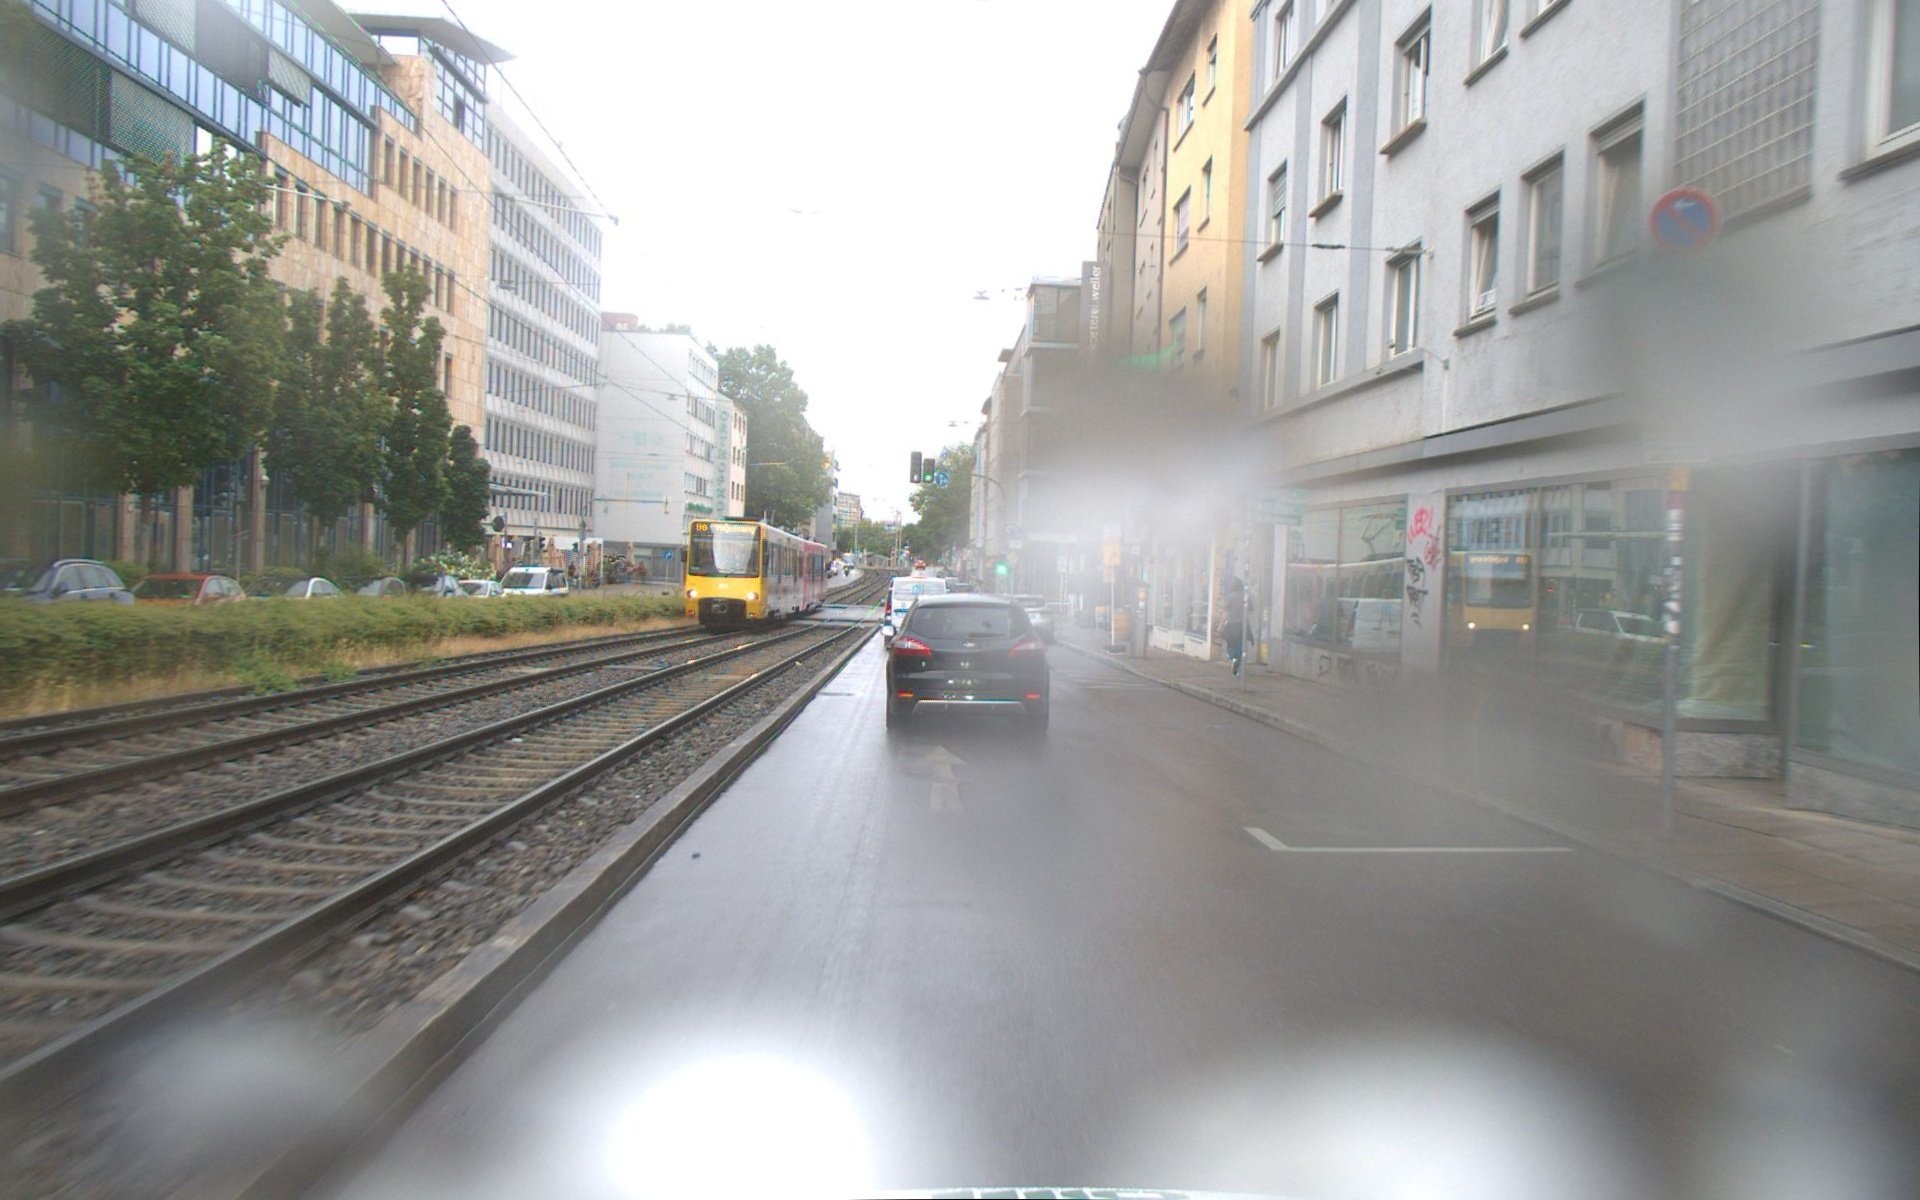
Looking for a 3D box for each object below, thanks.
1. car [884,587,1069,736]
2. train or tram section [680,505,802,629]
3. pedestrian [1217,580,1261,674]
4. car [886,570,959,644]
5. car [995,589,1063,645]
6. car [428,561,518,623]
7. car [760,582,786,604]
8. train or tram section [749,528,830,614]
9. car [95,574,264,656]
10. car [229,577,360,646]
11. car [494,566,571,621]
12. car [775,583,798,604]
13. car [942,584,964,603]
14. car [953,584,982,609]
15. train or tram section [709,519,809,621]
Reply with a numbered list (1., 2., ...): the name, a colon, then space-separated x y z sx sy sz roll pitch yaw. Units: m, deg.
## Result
1. car: 0.146 0.633 18.724 1.868 1.488 3.444 1 0 -1
2. train or tram section: -7.462 -1.088 57.907 3.444 3.843 11.323 1 0 -4
3. pedestrian: 4.752 0.453 28.215 0.599 1.564 0.648 1 0 -2
4. car: -0.983 0.182 45.754 1.867 1.897 4.573 1 0 0
5. car: 2.120 0.514 52.003 1.867 1.662 4.573 1 0 0
6. car: -15.814 -0.246 53.946 1.869 1.897 4.569 1 0 -4
7. car: -16.353 -0.586 144.749 1.868 1.897 4.572 1 0 -2
8. train or tram section: -8.268 -1.395 81.825 3.468 3.843 13.420 1 0 -4
9. car: -15.009 0.258 32.046 1.537 1.461 4.174 1 0 -4
10. car: -15.064 0.221 37.636 1.537 1.461 4.174 1 0 -4
11. car: -15.556 -0.227 60.385 1.869 1.897 4.569 1 0 -4
12. car: -16.406 -0.571 156.422 1.868 1.897 4.571 1 0 -2
13. car: -0.584 -0.568 145.624 1.867 1.662 4.573 1 0 0
14. car: 0.508 -0.217 113.955 1.867 1.662 4.573 1 0 0
15. train or tram section: -8.240 -1.203 69.229 3.468 3.843 11.323 1 0 -4
